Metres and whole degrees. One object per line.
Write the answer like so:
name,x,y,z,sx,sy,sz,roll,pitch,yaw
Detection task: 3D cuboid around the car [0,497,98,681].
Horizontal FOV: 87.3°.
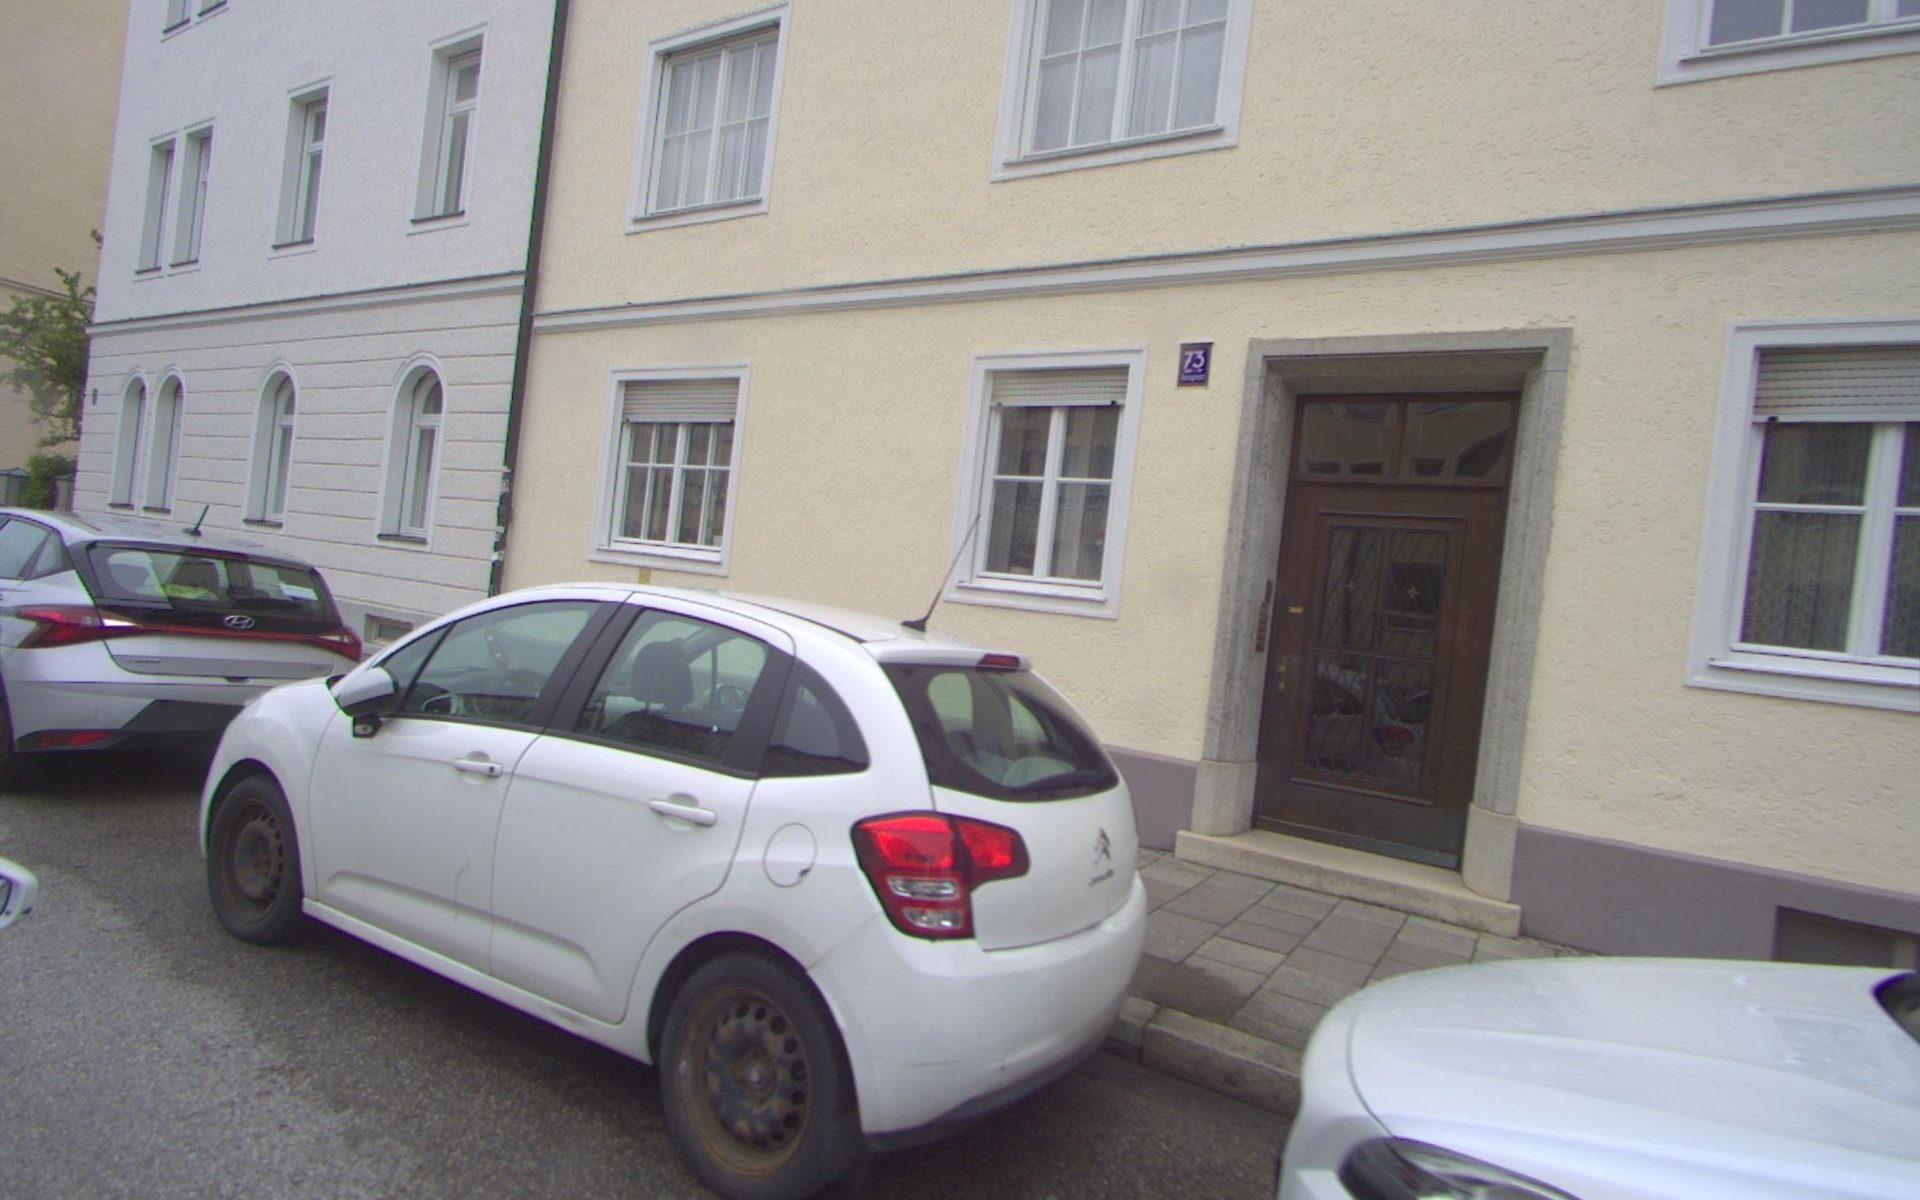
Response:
car,-9.542,-0.318,8.766,4.317,1.445,1.682,7,-1,30

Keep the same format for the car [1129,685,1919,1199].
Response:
car,2.571,1.130,1.247,4.368,1.427,1.682,7,-1,31

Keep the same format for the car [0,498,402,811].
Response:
car,-5.681,0.137,6.489,4.096,1.445,1.682,7,-1,30

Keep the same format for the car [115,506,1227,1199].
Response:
car,-1.296,0.621,3.918,4.096,1.499,1.682,7,-1,30
